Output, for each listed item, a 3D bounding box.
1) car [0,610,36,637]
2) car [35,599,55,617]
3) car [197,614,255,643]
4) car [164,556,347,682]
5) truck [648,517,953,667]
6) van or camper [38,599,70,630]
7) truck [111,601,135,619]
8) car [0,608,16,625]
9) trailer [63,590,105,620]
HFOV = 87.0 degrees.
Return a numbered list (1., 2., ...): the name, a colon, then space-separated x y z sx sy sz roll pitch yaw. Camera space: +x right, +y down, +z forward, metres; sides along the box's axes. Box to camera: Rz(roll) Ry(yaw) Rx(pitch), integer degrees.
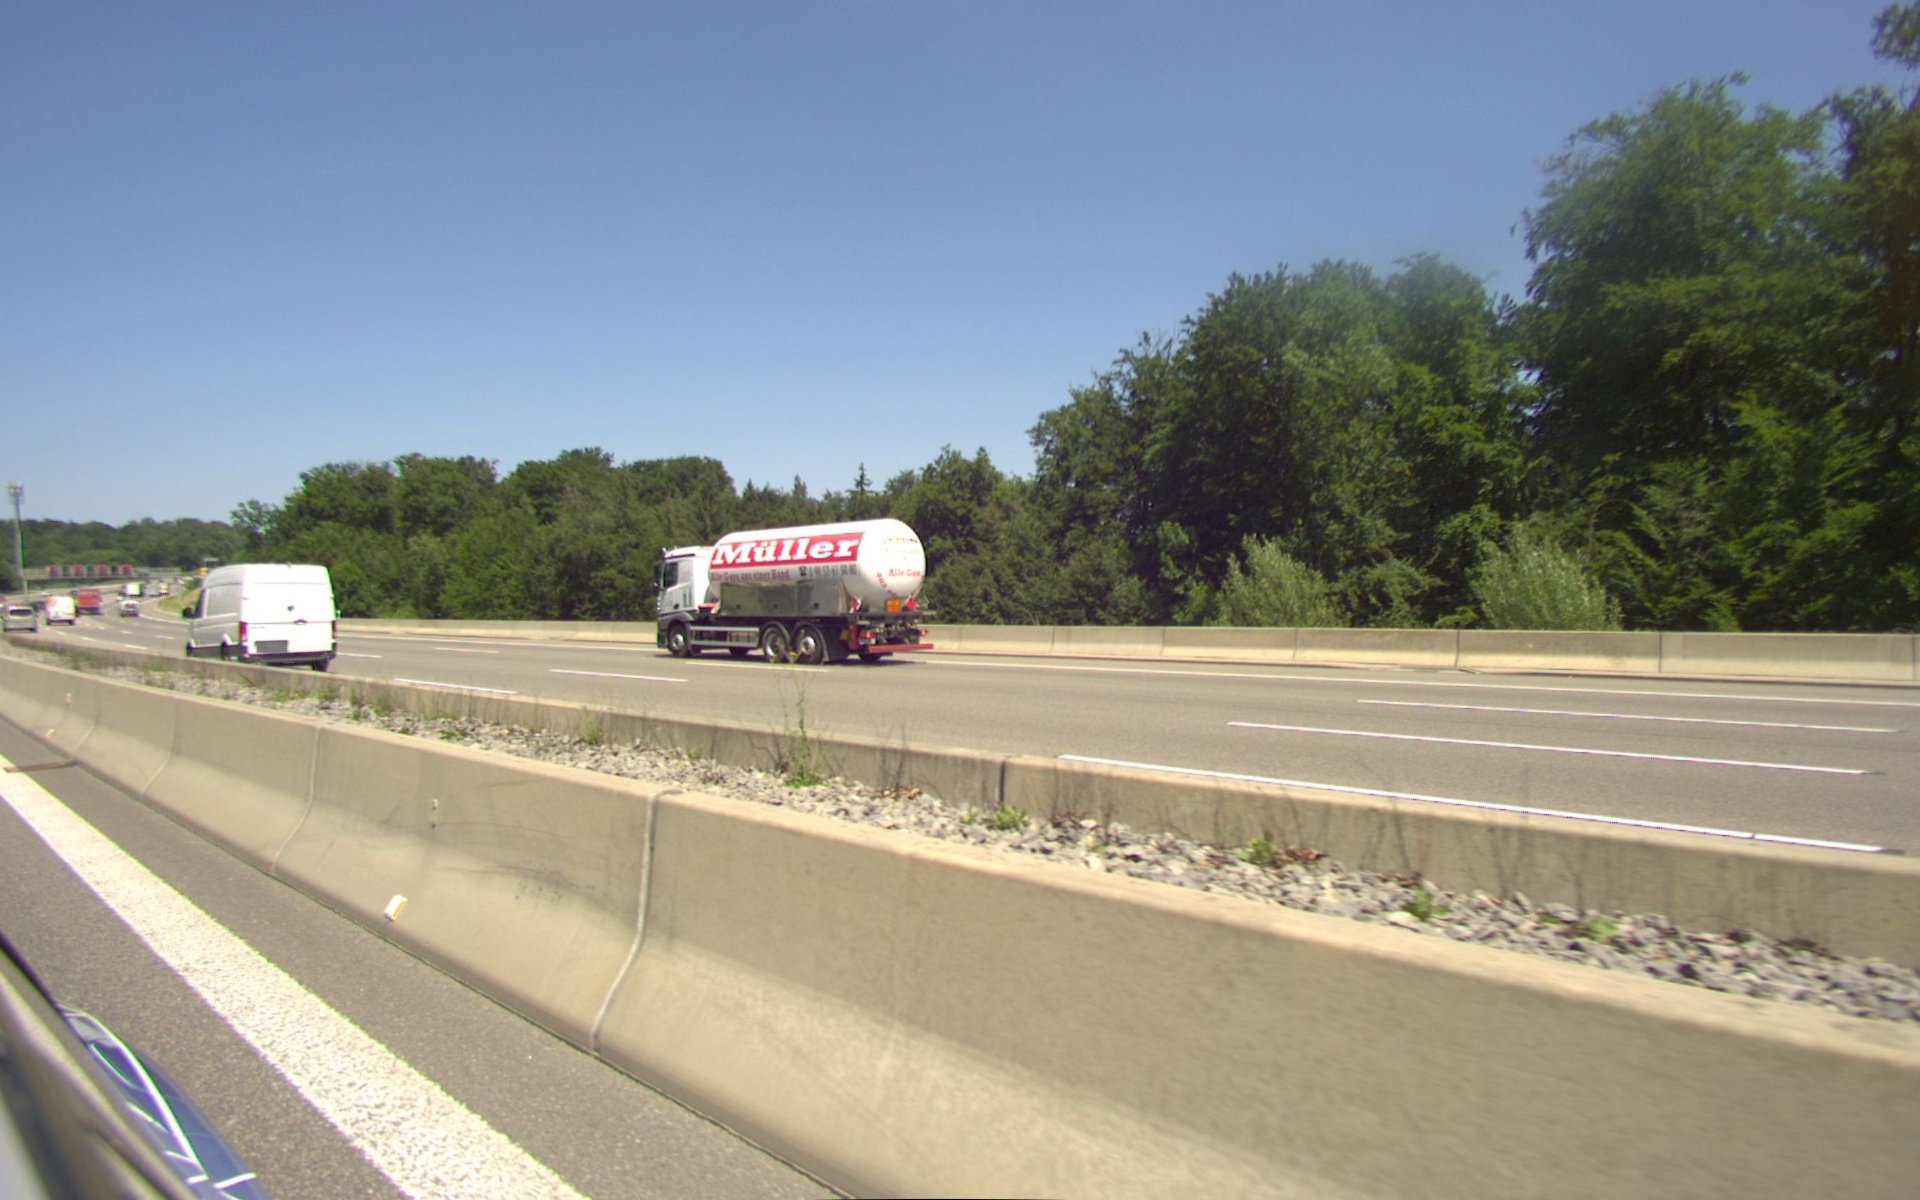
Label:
1. car: -67.712 1.661 72.588 4.589 1.885 1.799 -1 -1 43
2. car: -129.216 1.127 142.916 1.970 2.318 4.596 -1 2 -44
3. car: -40.610 1.561 55.948 4.494 1.493 1.744 -1 1 43
4. car: -17.304 0.463 24.695 6.304 2.709 2.076 -2 0 41
5. truck: -4.714 -0.185 27.702 9.879 3.492 2.582 0 1 42
6. van or camper: -86.514 1.387 96.563 1.970 2.821 7.419 0 -1 -44
7. truck: -114.556 1.292 138.419 2.022 2.271 8.833 -1 1 -43
8. car: -119.781 2.029 126.931 4.643 1.997 1.885 0 1 45
9. trailer: -132.738 0.748 153.252 14.484 4.312 3.792 0 1 45
